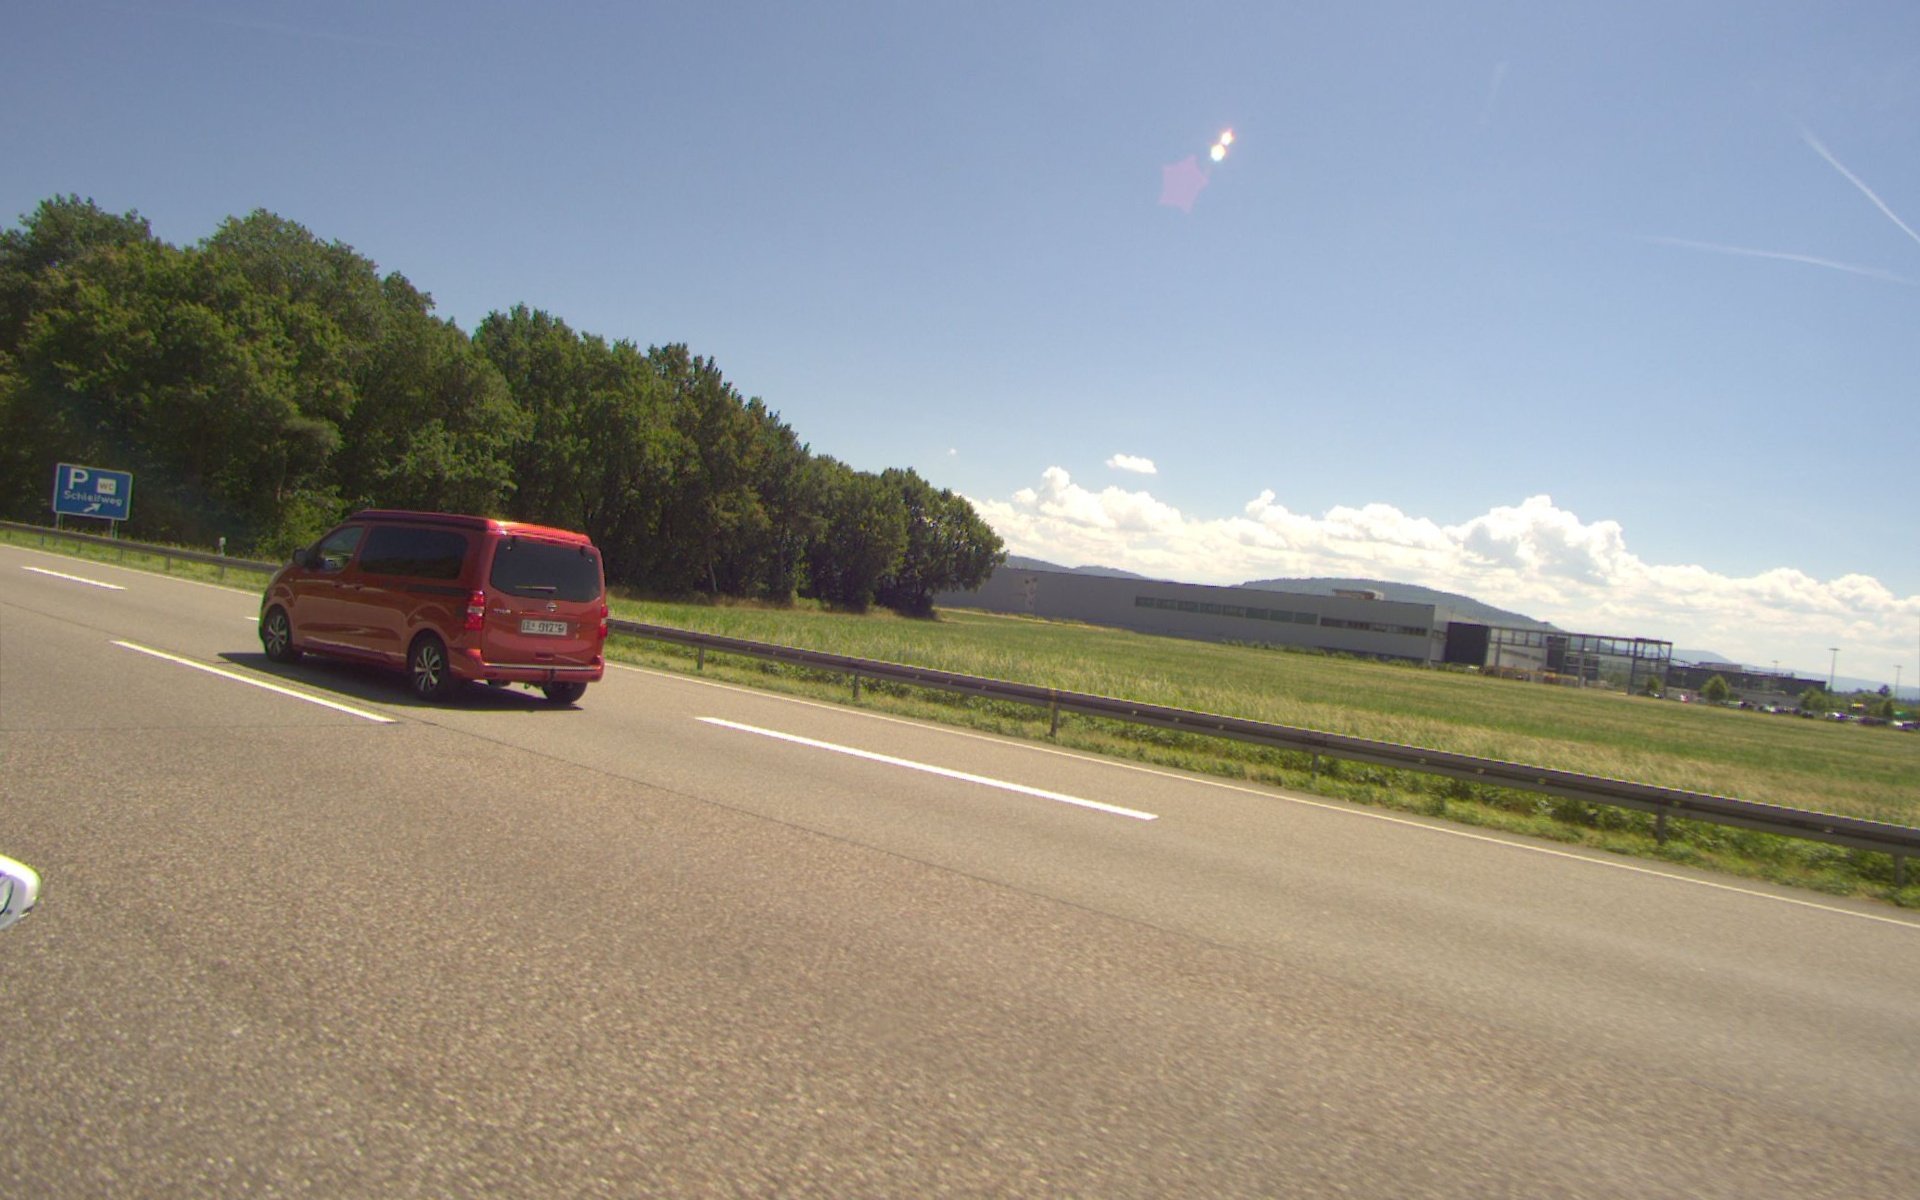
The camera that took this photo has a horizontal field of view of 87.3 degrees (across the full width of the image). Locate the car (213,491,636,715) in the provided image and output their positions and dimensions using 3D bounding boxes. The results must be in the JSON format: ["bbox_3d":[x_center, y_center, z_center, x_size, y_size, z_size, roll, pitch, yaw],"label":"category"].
[{"bbox_3d":[-6.607,-0.037,12.165,5.430,2.026,1.859,7,-1,32],"label":"car"}]
